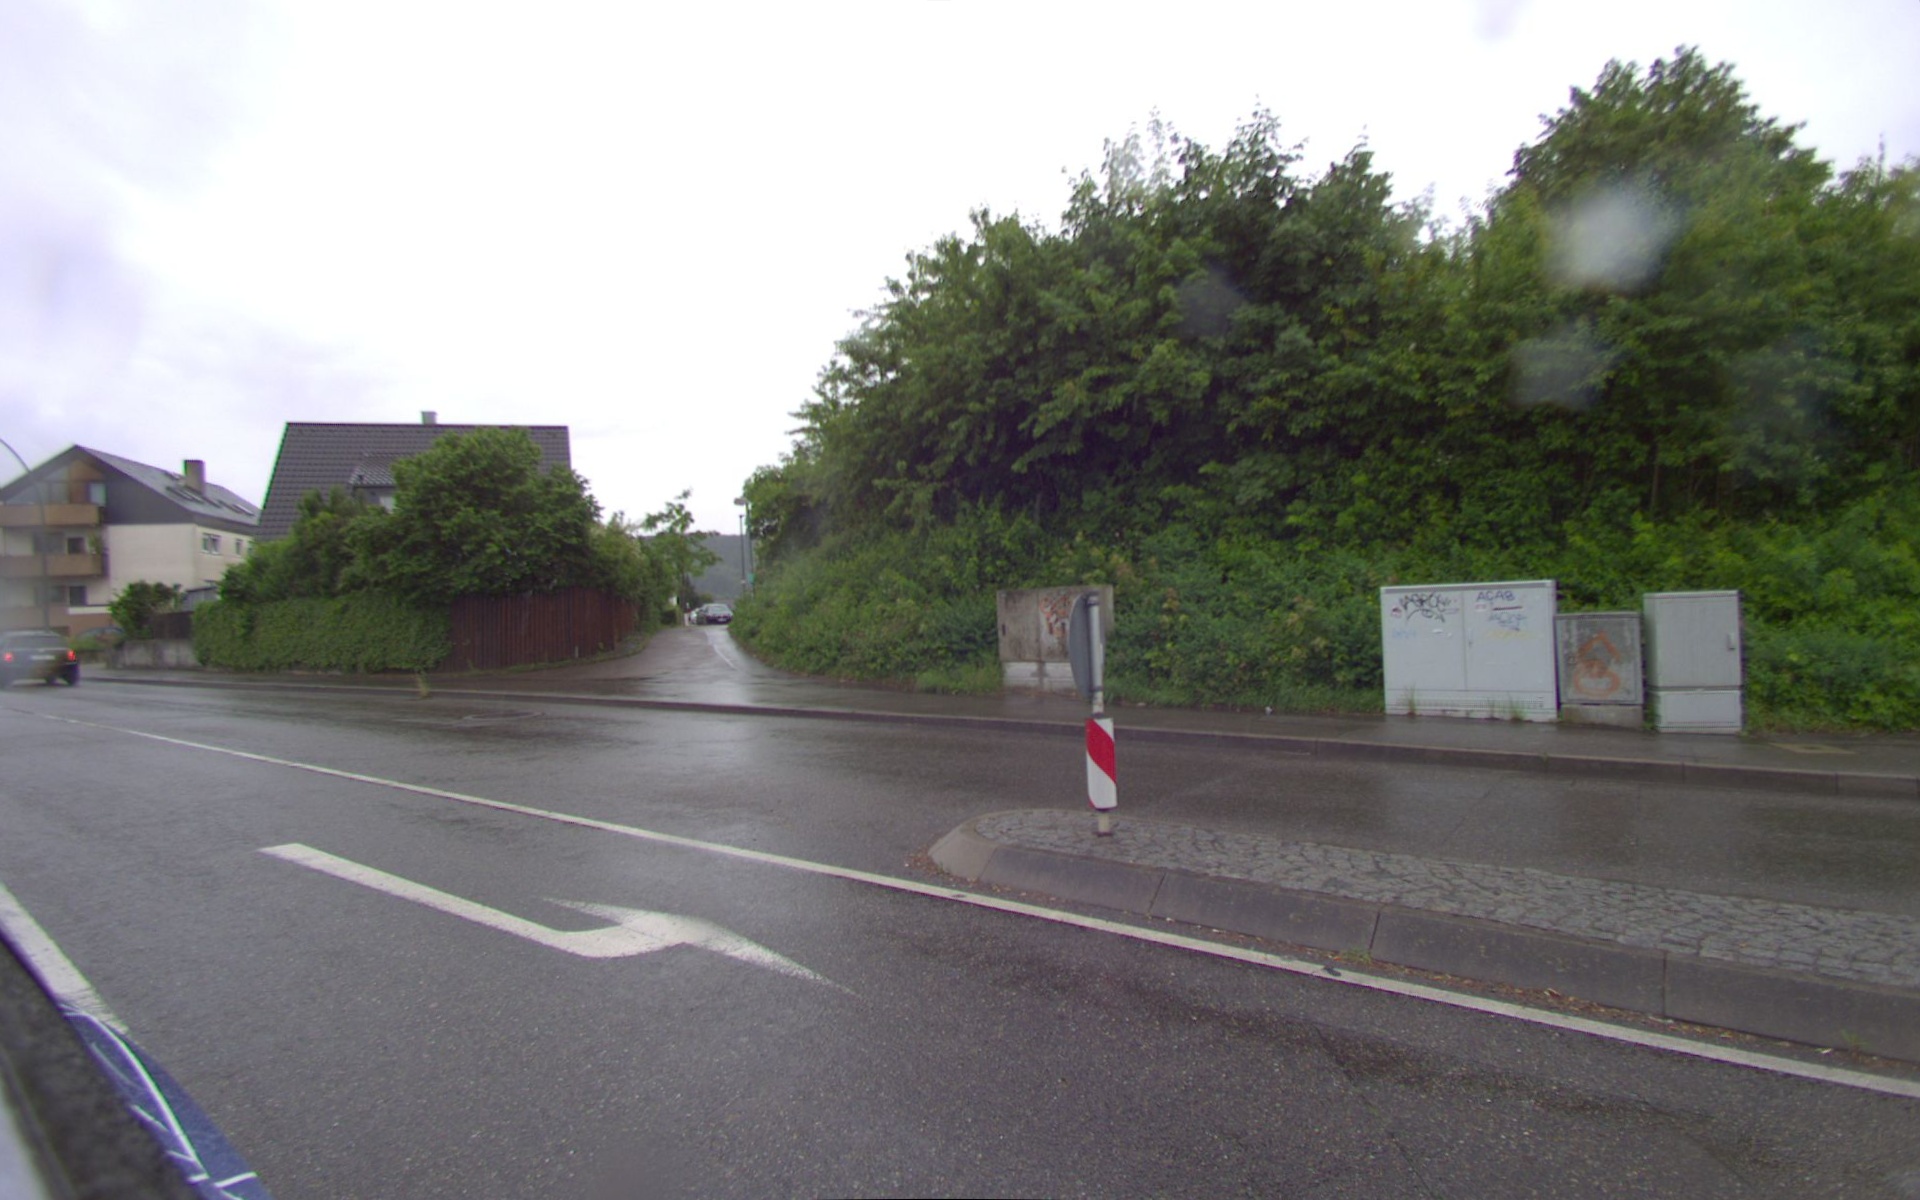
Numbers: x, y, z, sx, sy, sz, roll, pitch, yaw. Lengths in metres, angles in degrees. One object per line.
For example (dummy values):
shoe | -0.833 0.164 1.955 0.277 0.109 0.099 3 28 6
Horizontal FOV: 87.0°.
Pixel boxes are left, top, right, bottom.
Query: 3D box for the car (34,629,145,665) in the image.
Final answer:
car | -41.587 2.217 48.426 3.609 1.530 1.759 -2 0 -15

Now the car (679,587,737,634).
car | -9.170 0.376 37.057 1.683 1.600 3.668 -1 0 -8

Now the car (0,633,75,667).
car | -46.774 2.490 50.946 1.837 1.530 4.012 -2 0 -18

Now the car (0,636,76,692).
car | -26.057 1.737 27.979 3.453 1.397 1.661 -2 0 35

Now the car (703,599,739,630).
car | -15.585 0.935 66.179 1.968 1.873 4.008 -2 0 -9
